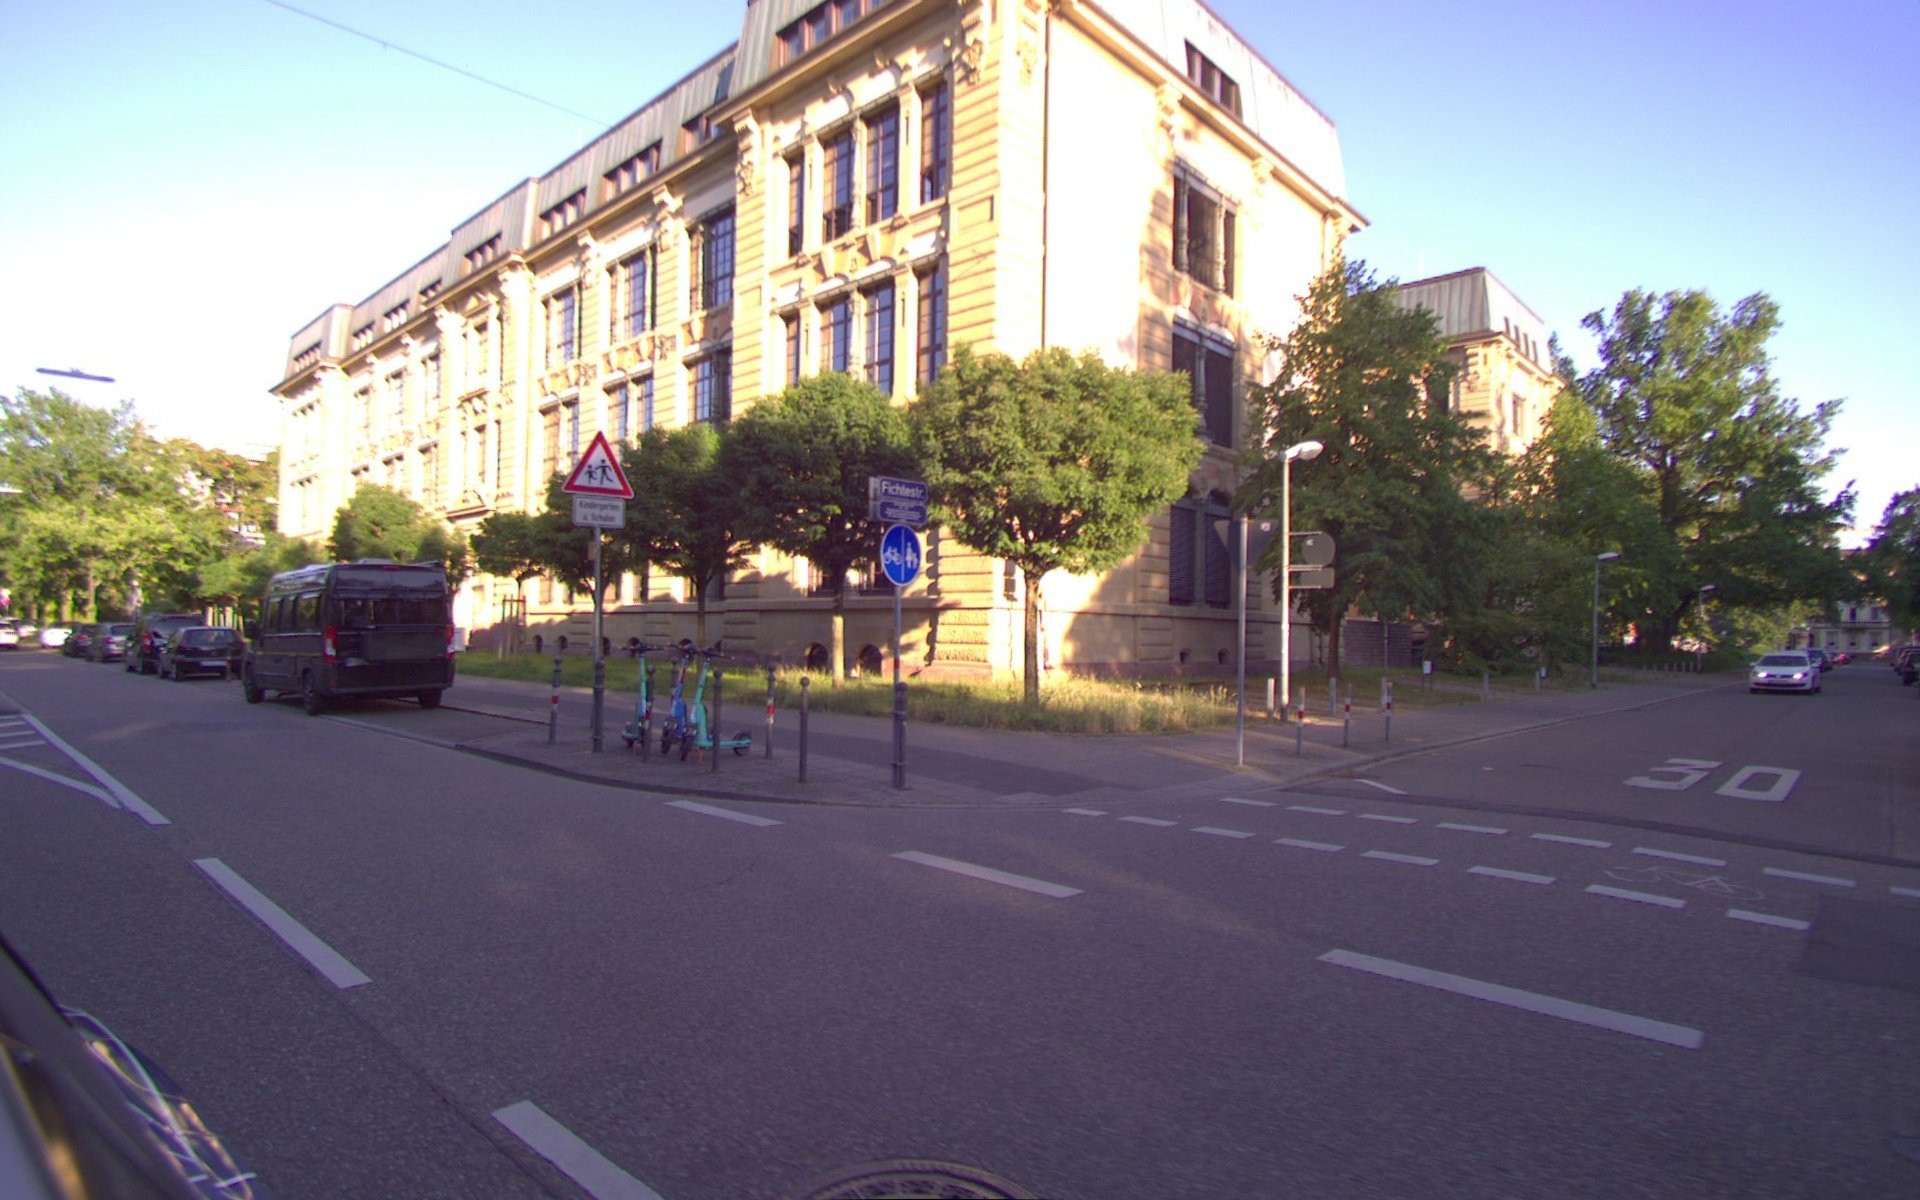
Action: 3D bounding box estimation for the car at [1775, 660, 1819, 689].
[{"bbox_3d":[46.298,4.097,55.952,1.682,1.472,3.944,0,-2,42],"label":"car"}]

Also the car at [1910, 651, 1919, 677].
[{"bbox_3d":[61.874,4.108,64.349,2.000,1.590,3.944,0,-2,42],"label":"car"}]

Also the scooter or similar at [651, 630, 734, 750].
[{"bbox_3d":[-3.071,1.001,11.728,0.427,1.284,1.341,1,-1,8],"label":"scooter or similar"}]

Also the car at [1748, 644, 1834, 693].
[{"bbox_3d":[29.304,2.381,35.668,2.001,1.586,3.942,-1,-3,44],"label":"car"}]

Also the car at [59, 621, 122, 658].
[{"bbox_3d":[-37.772,1.694,43.952,4.378,1.507,1.600,-1,-2,43],"label":"car"}]

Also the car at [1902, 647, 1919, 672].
[{"bbox_3d":[70.470,4.343,74.233,1.858,1.630,3.945,-1,-1,42],"label":"car"}]

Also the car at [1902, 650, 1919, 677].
[{"bbox_3d":[97.188,6.449,102.694,2.322,2.462,4.624,-1,-1,44],"label":"car"}]

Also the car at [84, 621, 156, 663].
[{"bbox_3d":[-32.659,1.599,39.307,4.379,1.507,1.699,-1,-2,44],"label":"car"}]

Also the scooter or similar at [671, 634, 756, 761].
[{"bbox_3d":[-2.683,1.025,11.135,0.427,1.284,1.341,1,-1,8],"label":"scooter or similar"}]

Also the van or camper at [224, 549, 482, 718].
[{"bbox_3d":[-11.335,0.524,18.558,7.080,2.563,2.205,0,-1,43],"label":"van or camper"}]

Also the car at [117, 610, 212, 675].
[{"bbox_3d":[-24.985,1.268,31.743,4.333,1.880,1.758,-1,0,44],"label":"car"}]

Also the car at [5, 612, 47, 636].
[{"bbox_3d":[-61.915,1.596,67.071,4.864,1.522,1.782,0,-1,45],"label":"car"}]

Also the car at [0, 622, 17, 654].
[{"bbox_3d":[-46.370,1.778,48.238,4.624,1.469,1.722,0,-3,43],"label":"car"}]

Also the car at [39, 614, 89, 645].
[{"bbox_3d":[-46.871,1.524,52.913,3.925,1.507,1.600,-1,-2,43],"label":"car"}]

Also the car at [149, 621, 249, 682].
[{"bbox_3d":[-20.954,1.356,27.811,1.677,1.481,3.857,-1,0,-45],"label":"car"}]

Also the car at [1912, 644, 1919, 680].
[{"bbox_3d":[45.187,2.850,46.486,2.000,1.590,3.944,0,-2,42],"label":"car"}]

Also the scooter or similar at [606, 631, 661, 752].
[{"bbox_3d":[-3.717,1.009,11.576,0.425,1.284,1.347,1,-1,-11],"label":"scooter or similar"}]
